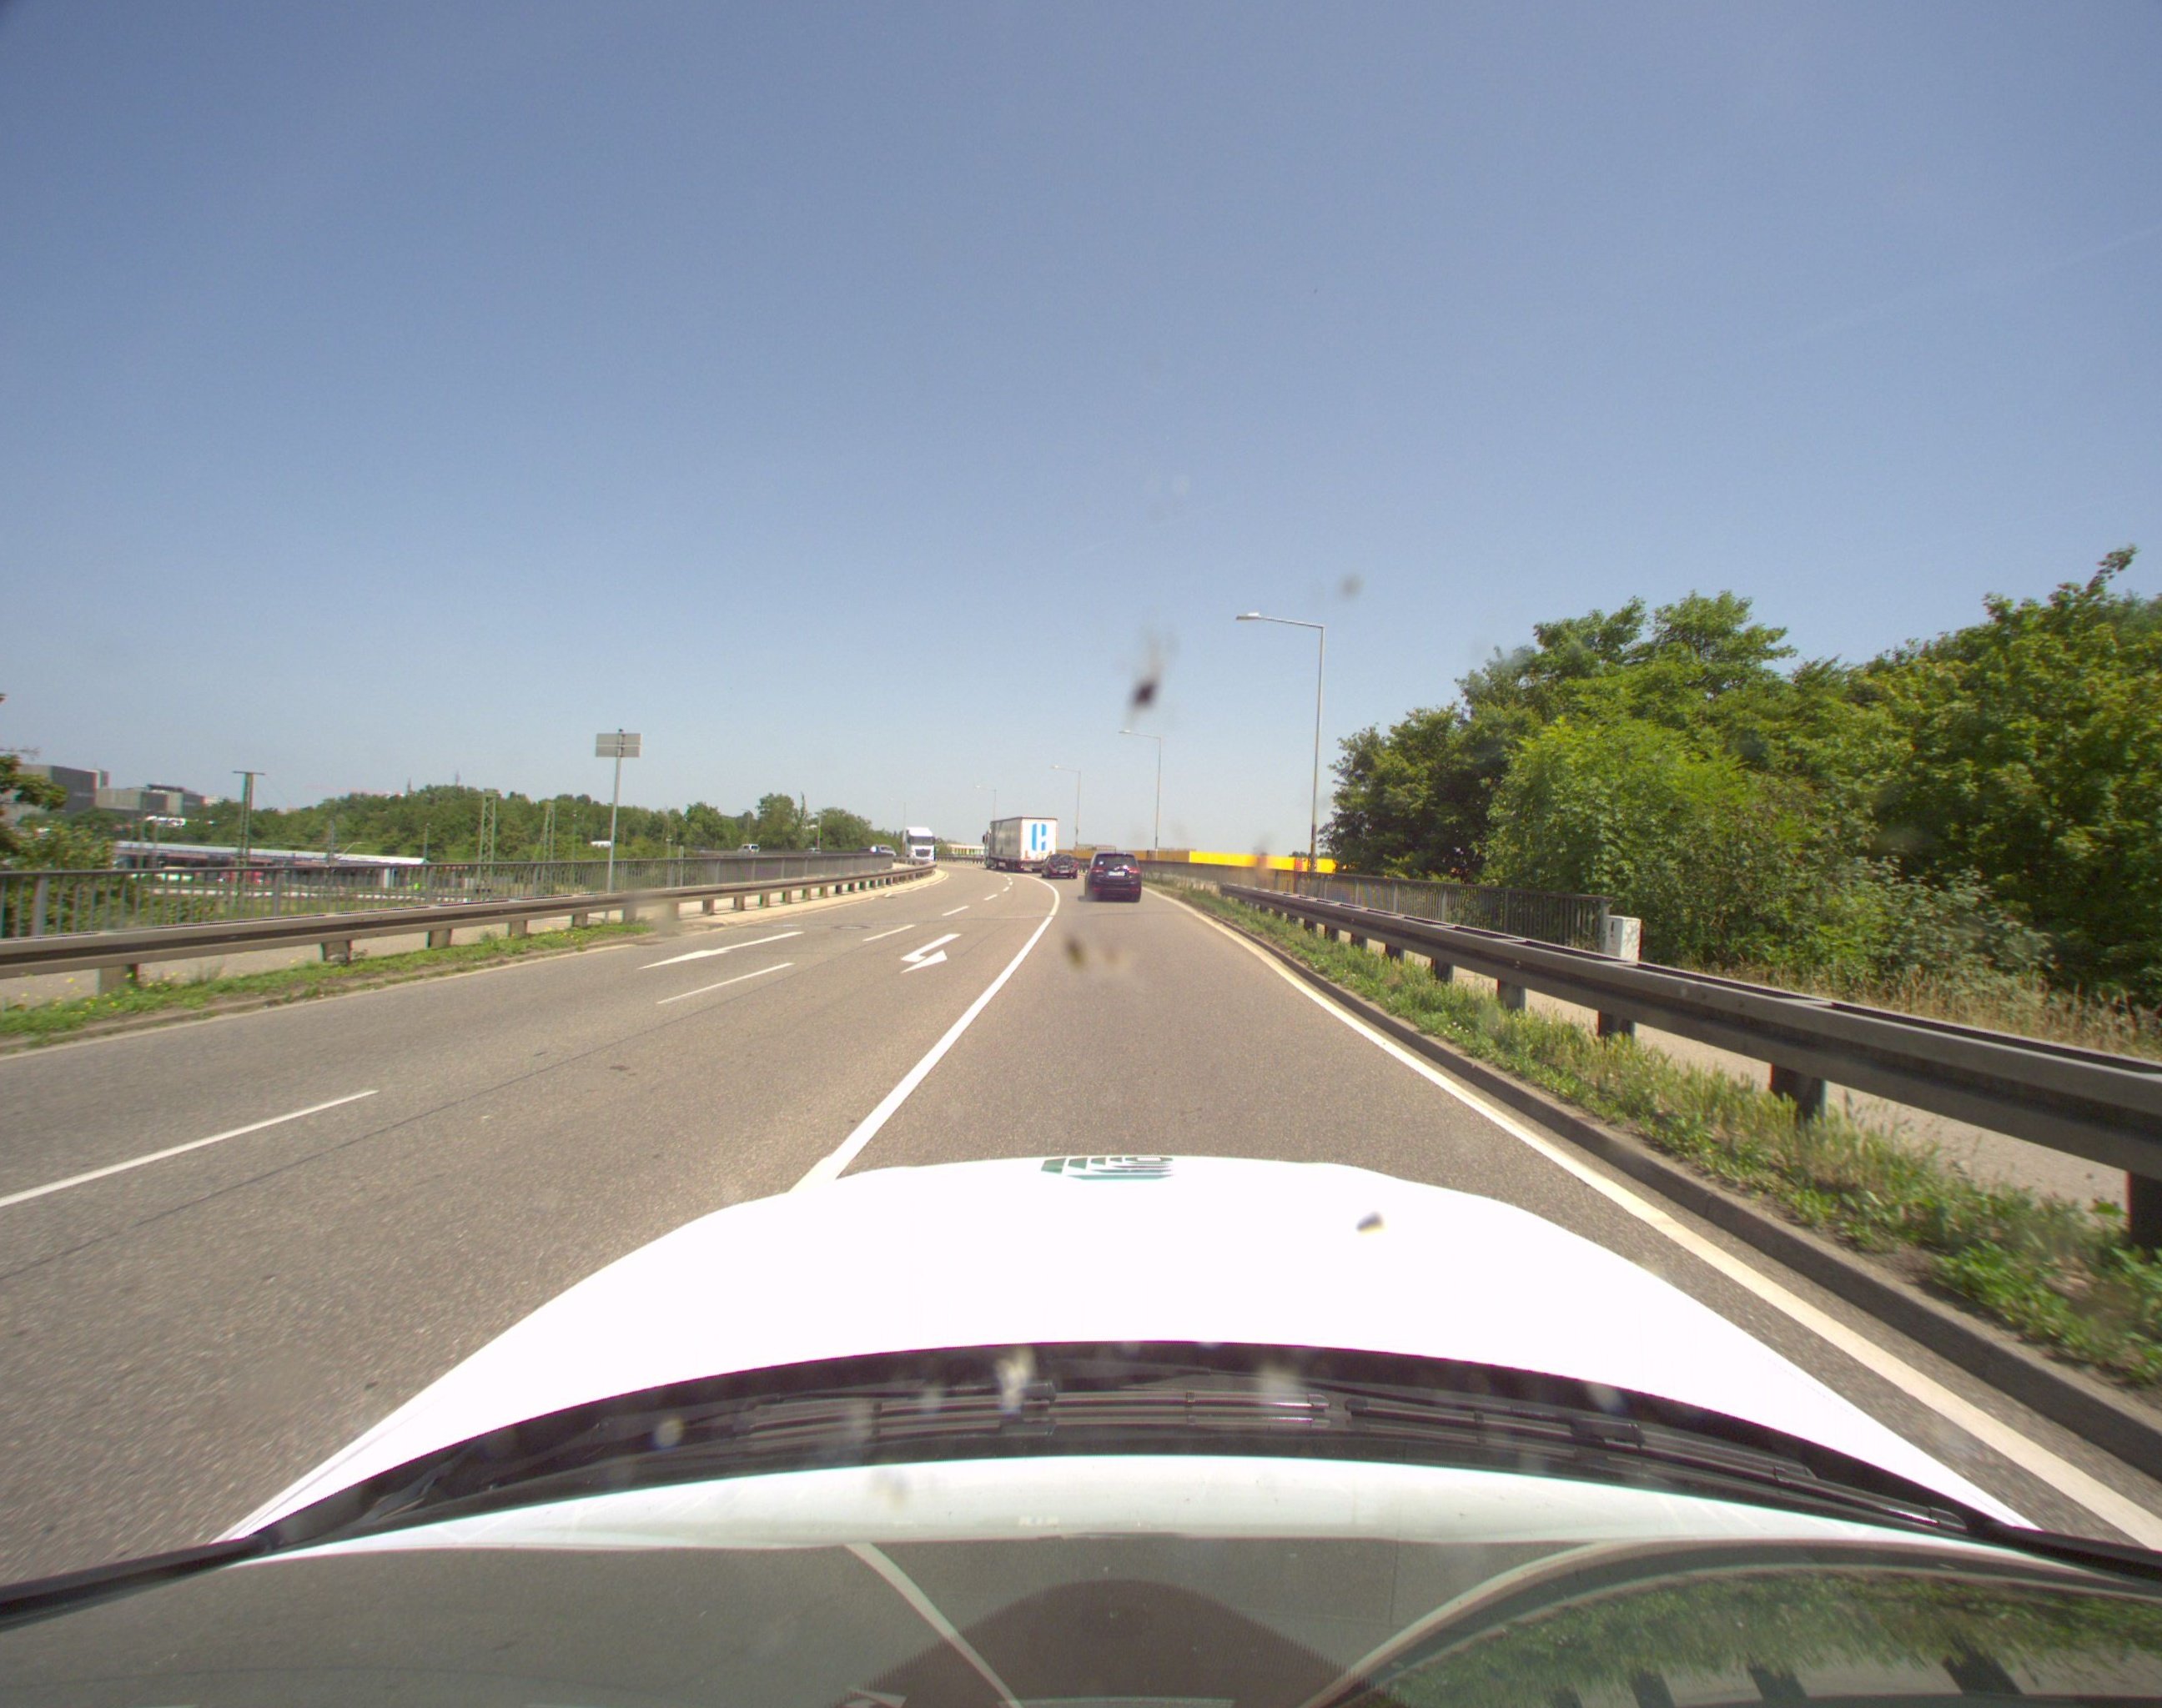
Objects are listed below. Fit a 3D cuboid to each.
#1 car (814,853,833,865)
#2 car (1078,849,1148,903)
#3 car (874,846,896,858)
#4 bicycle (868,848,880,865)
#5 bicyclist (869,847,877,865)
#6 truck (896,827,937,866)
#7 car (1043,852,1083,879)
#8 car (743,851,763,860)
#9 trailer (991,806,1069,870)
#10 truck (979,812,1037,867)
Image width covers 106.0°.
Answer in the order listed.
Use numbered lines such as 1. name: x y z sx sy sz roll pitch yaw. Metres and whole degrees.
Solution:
1. car: -39.912 0.774 126.197 1.687 1.640 3.729 1 0 -37
2. car: 0.956 0.661 26.499 1.917 1.574 3.888 2 0 -3
3. car: -23.756 -0.277 98.566 1.569 1.386 3.579 1 0 -32
4. bicycle: -22.345 0.262 87.775 0.702 1.801 2.161 2 0 -28
5. bicyclist: -22.430 0.246 87.863 0.628 1.886 0.706 2 0 -29
6. truck: -17.722 -0.864 87.409 2.720 3.991 6.133 2 0 -26
7. car: -1.067 0.630 46.301 2.008 1.429 3.769 2 0 -6
8. car: -57.772 0.235 143.369 3.569 1.386 1.574 2 0 36
9. trailer: -4.120 -1.171 61.932 3.577 4.384 11.380 2 0 -16
10. truck: -6.324 -1.212 69.575 3.581 4.440 6.479 2 0 -17
